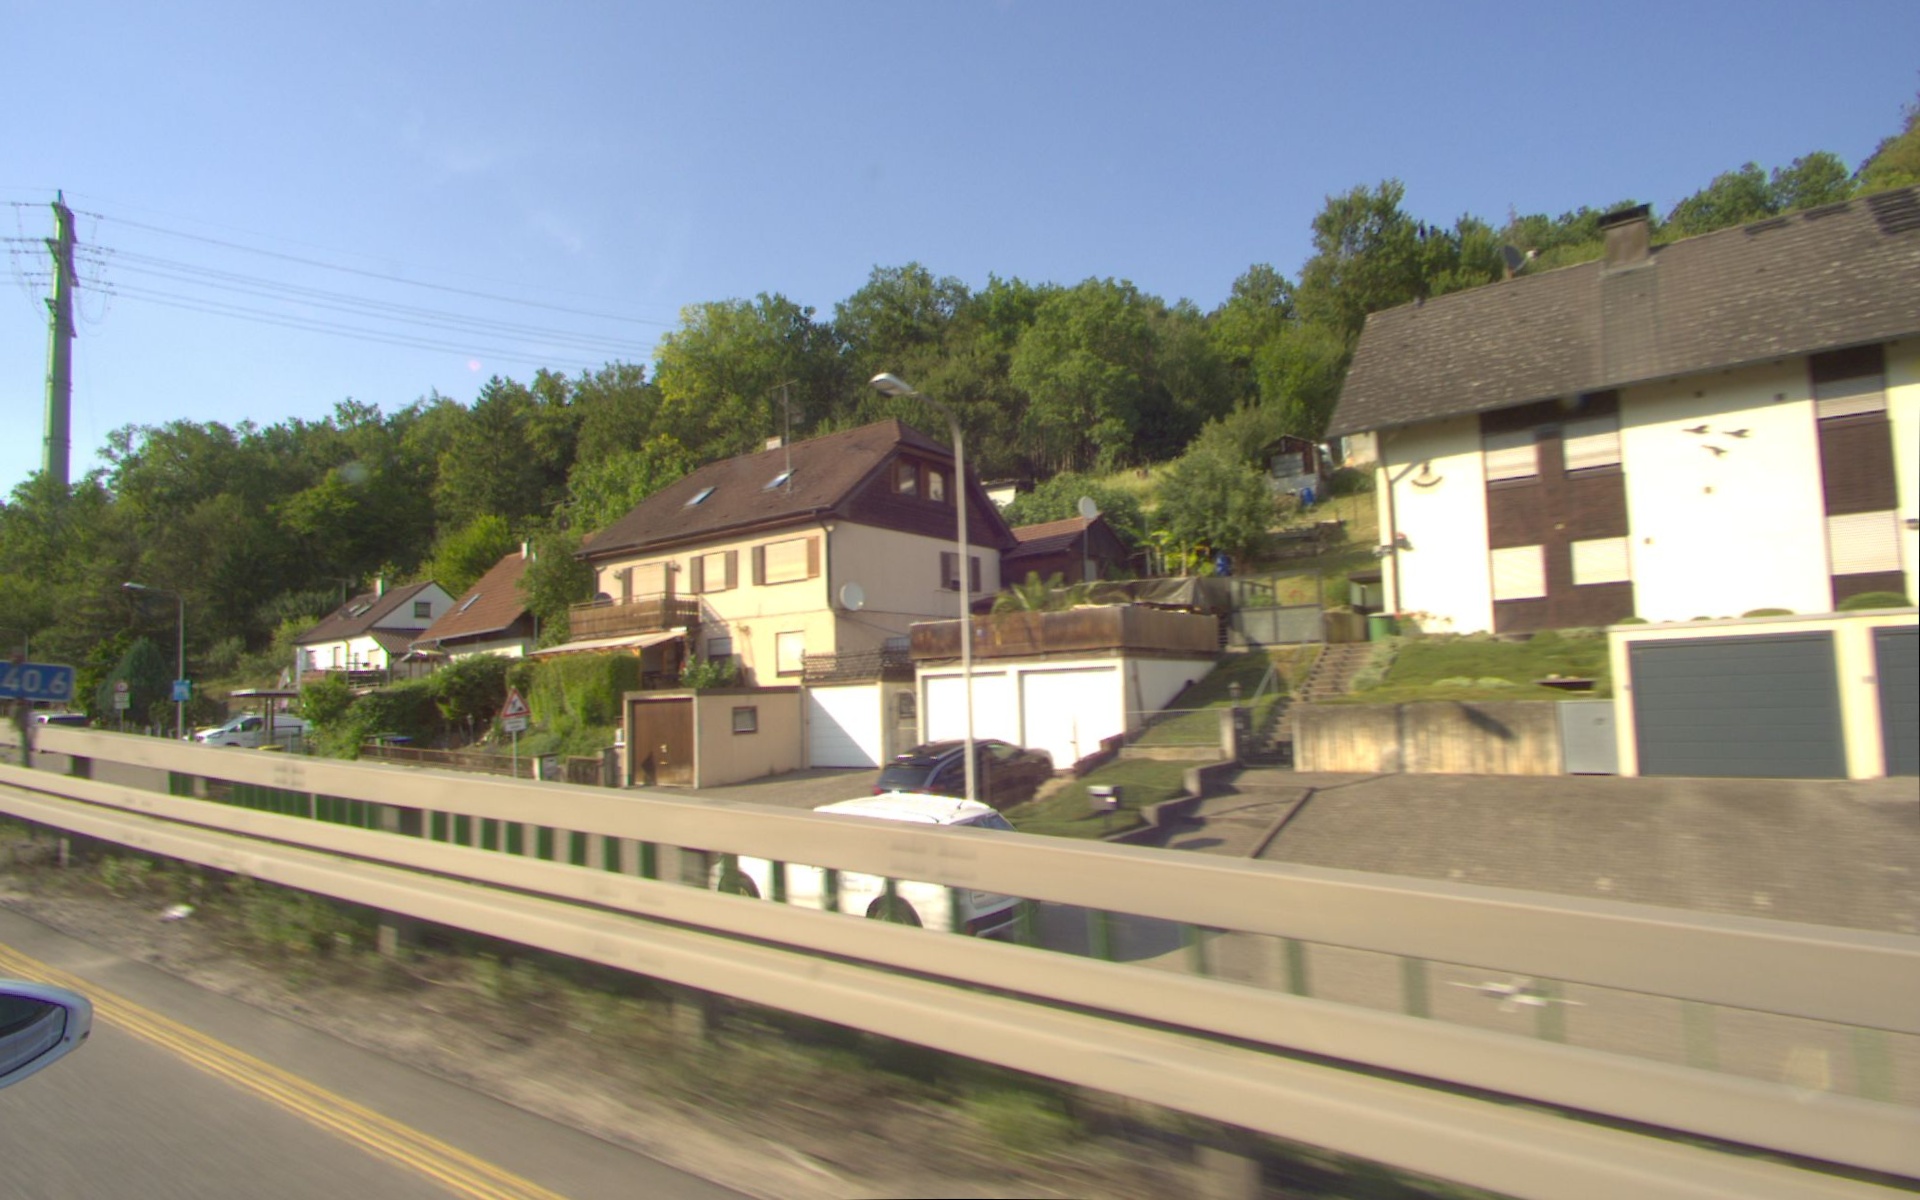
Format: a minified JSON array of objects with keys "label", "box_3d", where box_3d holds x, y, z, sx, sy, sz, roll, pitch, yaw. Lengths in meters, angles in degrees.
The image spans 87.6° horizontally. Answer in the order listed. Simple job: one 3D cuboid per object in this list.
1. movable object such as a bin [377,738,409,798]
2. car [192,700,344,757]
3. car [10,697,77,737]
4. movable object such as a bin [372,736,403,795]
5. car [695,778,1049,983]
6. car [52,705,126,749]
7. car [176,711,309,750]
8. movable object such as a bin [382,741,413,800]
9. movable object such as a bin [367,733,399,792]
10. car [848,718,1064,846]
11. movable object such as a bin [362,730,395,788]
[{"label":"movable object such as a bin","box_3d":[-17.803,5.271,31.440,0.409,1.787,0.489,-3,-13,41]},{"label":"car","box_3d":[-32.073,5.889,46.594,1.974,2.291,5.454,-3,-4,35]},{"label":"car","box_3d":[-51.325,6.509,56.068,4.989,2.010,1.857,-4,-3,37]},{"label":"movable object such as a bin","box_3d":[-18.129,5.252,31.712,0.409,1.787,0.489,-3,-13,41]},{"label":"car","box_3d":[-1.221,3.295,12.493,4.416,1.682,1.663,-4,-3,37]},{"label":"car","box_3d":[-43.334,6.278,49.815,4.807,1.940,1.988,-4,-3,39]},{"label":"car","box_3d":[-35.239,6.373,49.337,1.693,1.575,5.078,-3,-4,35]},{"label":"movable object such as a bin","box_3d":[-17.489,5.299,31.142,0.409,1.787,0.489,-3,-13,41]},{"label":"movable object such as a bin","box_3d":[-18.437,5.191,32.001,0.404,1.787,0.534,-3,-13,41]},{"label":"car","box_3d":[0.049,3.510,20.179,1.976,1.546,4.474,-4,2,37]},{"label":"movable object such as a bin","box_3d":[-18.753,5.130,32.299,0.411,1.787,0.529,-3,-13,41]}]
